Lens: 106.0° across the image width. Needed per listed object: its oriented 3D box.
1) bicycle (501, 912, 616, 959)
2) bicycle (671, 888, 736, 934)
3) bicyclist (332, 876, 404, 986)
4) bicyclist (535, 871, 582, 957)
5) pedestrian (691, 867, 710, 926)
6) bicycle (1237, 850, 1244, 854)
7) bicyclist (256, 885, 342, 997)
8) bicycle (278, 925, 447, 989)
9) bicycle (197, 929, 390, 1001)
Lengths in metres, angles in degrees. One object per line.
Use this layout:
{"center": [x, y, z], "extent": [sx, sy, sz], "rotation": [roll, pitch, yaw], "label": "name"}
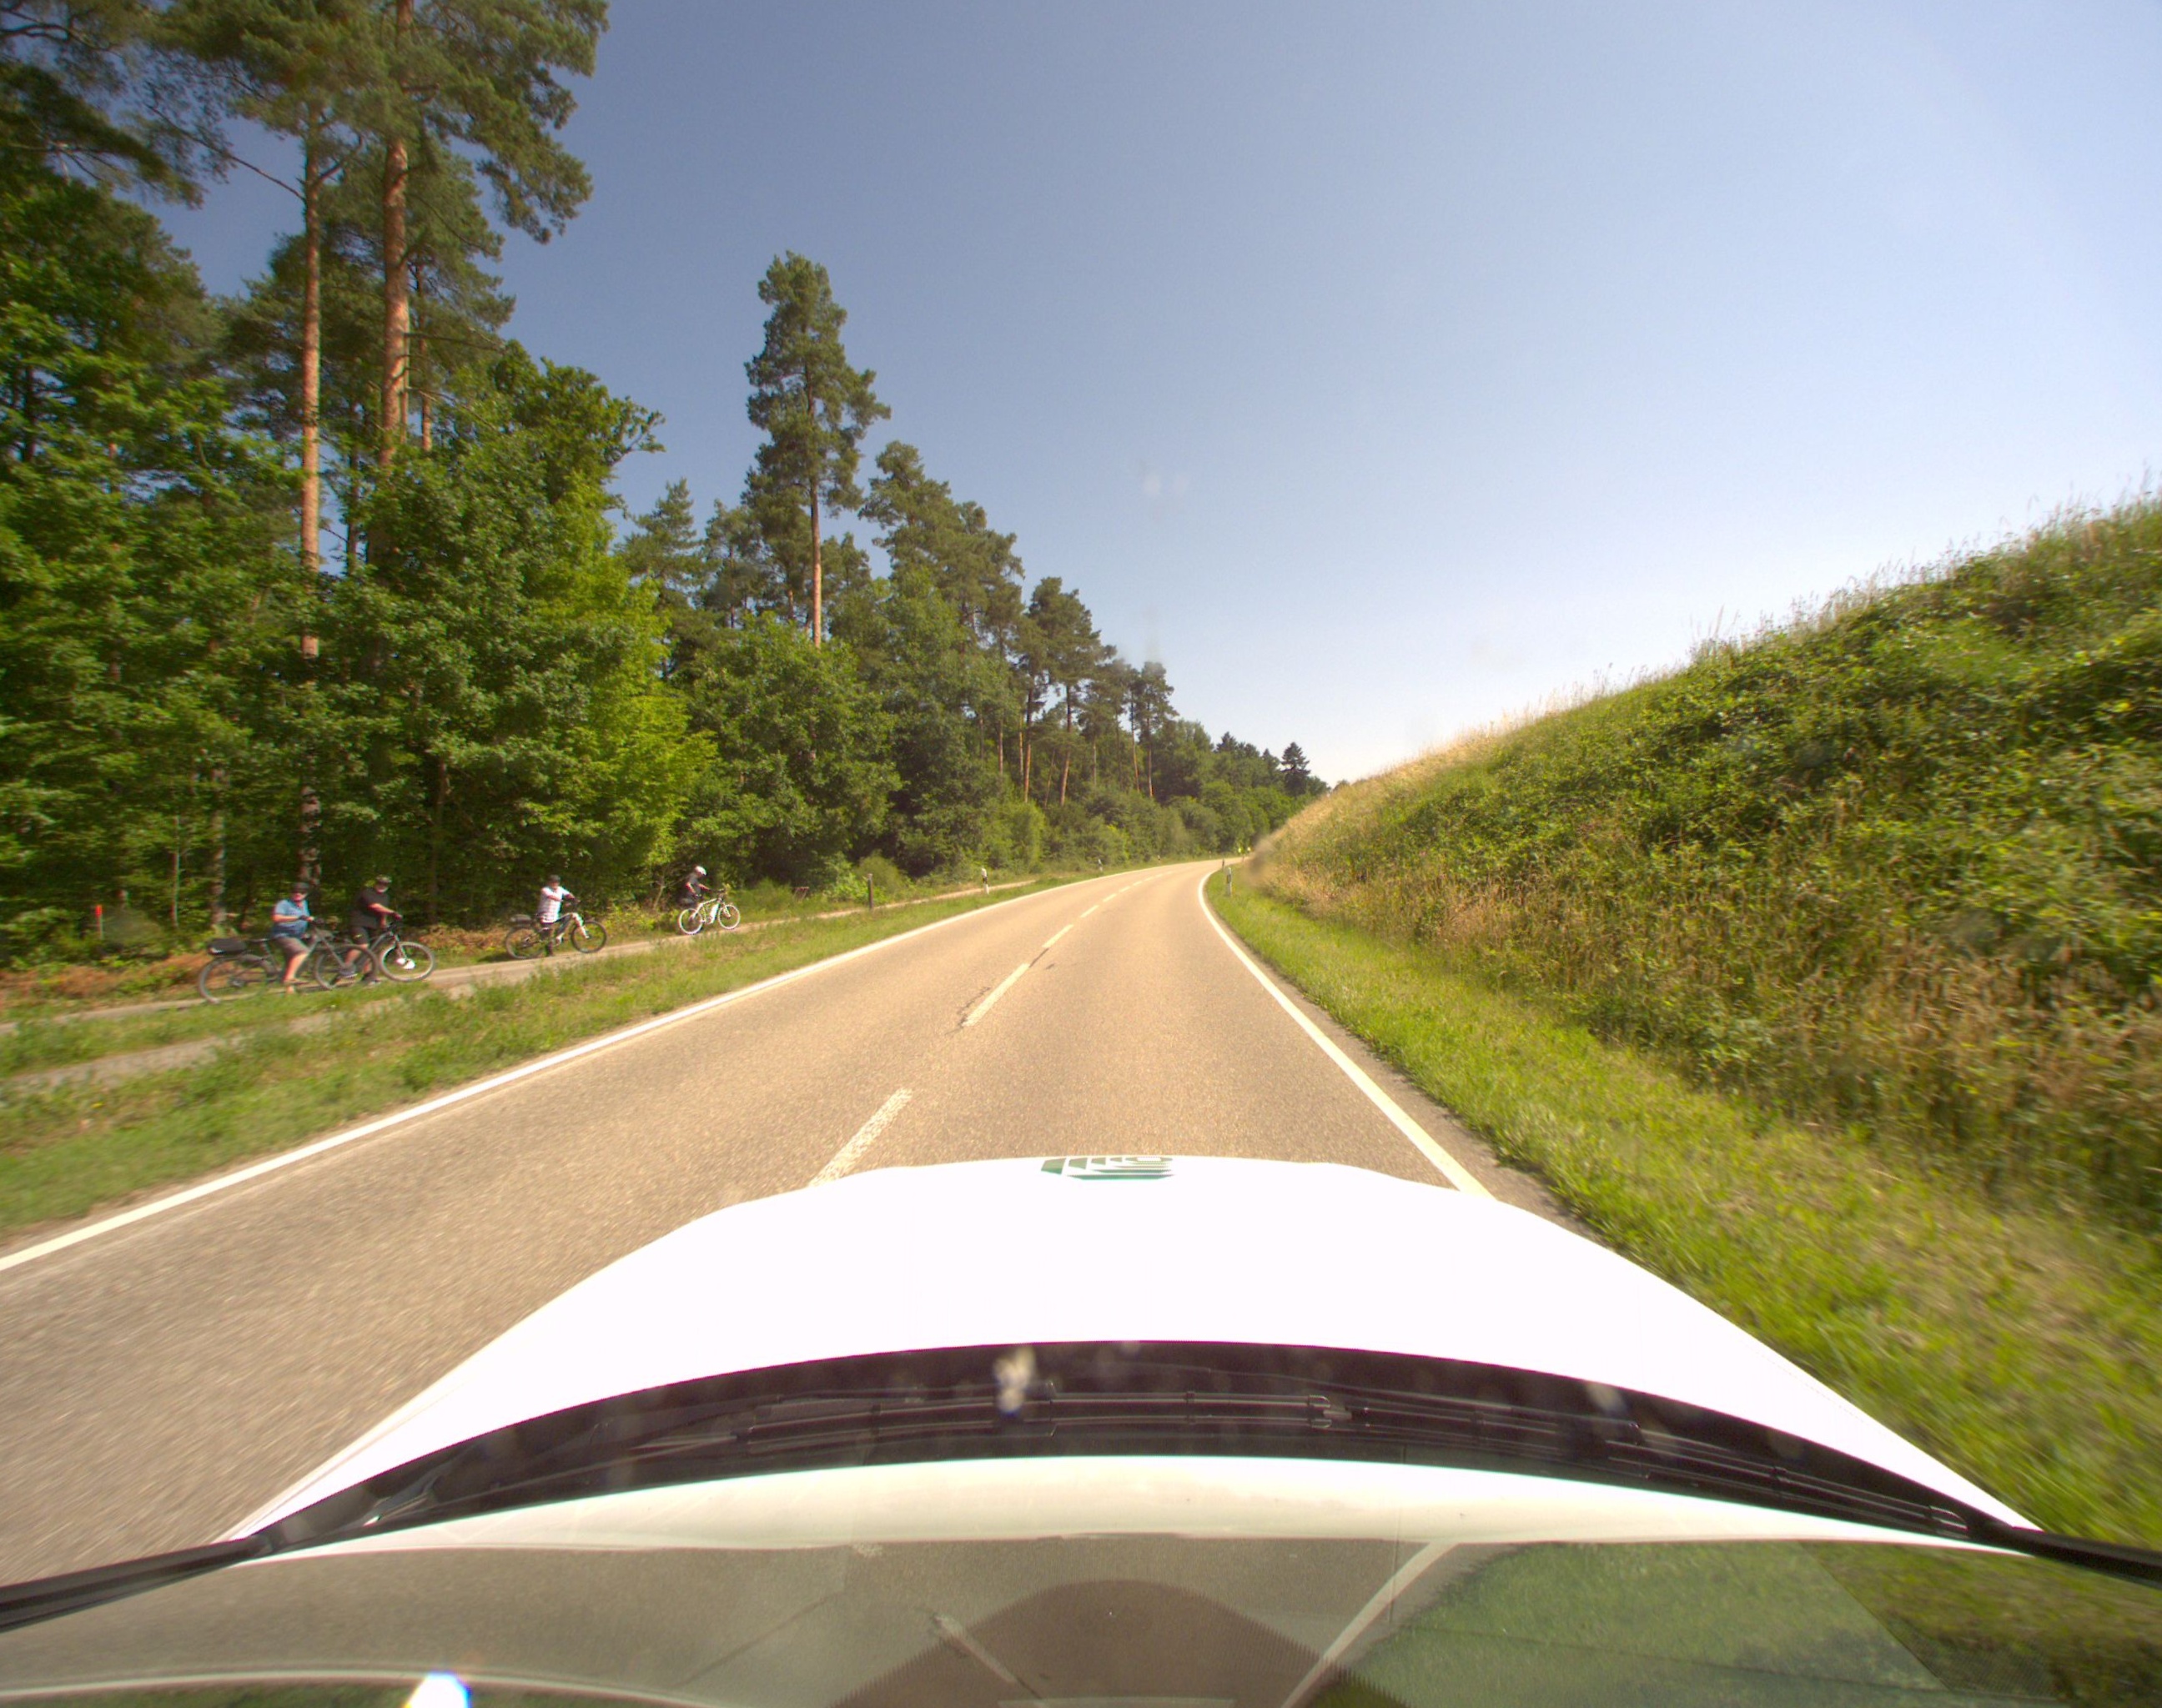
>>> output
{"center": [-10.872, 1.671, 16.998], "extent": [1.993, 0.829, 0.599], "rotation": [0, -1, -35], "label": "bicycle"}
{"center": [-10.030, 1.489, 21.675], "extent": [0.575, 1.086, 1.457], "rotation": [0, 2, 33], "label": "bicycle"}
{"center": [-11.548, 1.213, 13.198], "extent": [0.855, 1.701, 0.599], "rotation": [1, -1, -42], "label": "bicyclist"}
{"center": [-10.905, 1.226, 16.998], "extent": [0.793, 1.719, 0.599], "rotation": [0, -1, -35], "label": "bicyclist"}
{"center": [-10.189, 1.135, 21.803], "extent": [0.283, 1.538, 0.390], "rotation": [-2, 0, -1], "label": "pedestrian"}
{"center": [26.307, -0.325, 134.368], "extent": [0.613, 0.681, 2.149], "rotation": [-3, 0, 25], "label": "bicycle"}
{"center": [-11.517, 1.245, 12.018], "extent": [0.876, 1.545, 0.599], "rotation": [1, -1, -42], "label": "bicyclist"}
{"center": [-11.499, 1.621, 13.109], "extent": [1.996, 0.829, 0.599], "rotation": [0, -1, -42], "label": "bicycle"}
{"center": [-11.513, 1.602, 12.003], "extent": [1.996, 0.829, 0.599], "rotation": [0, -1, -42], "label": "bicycle"}
